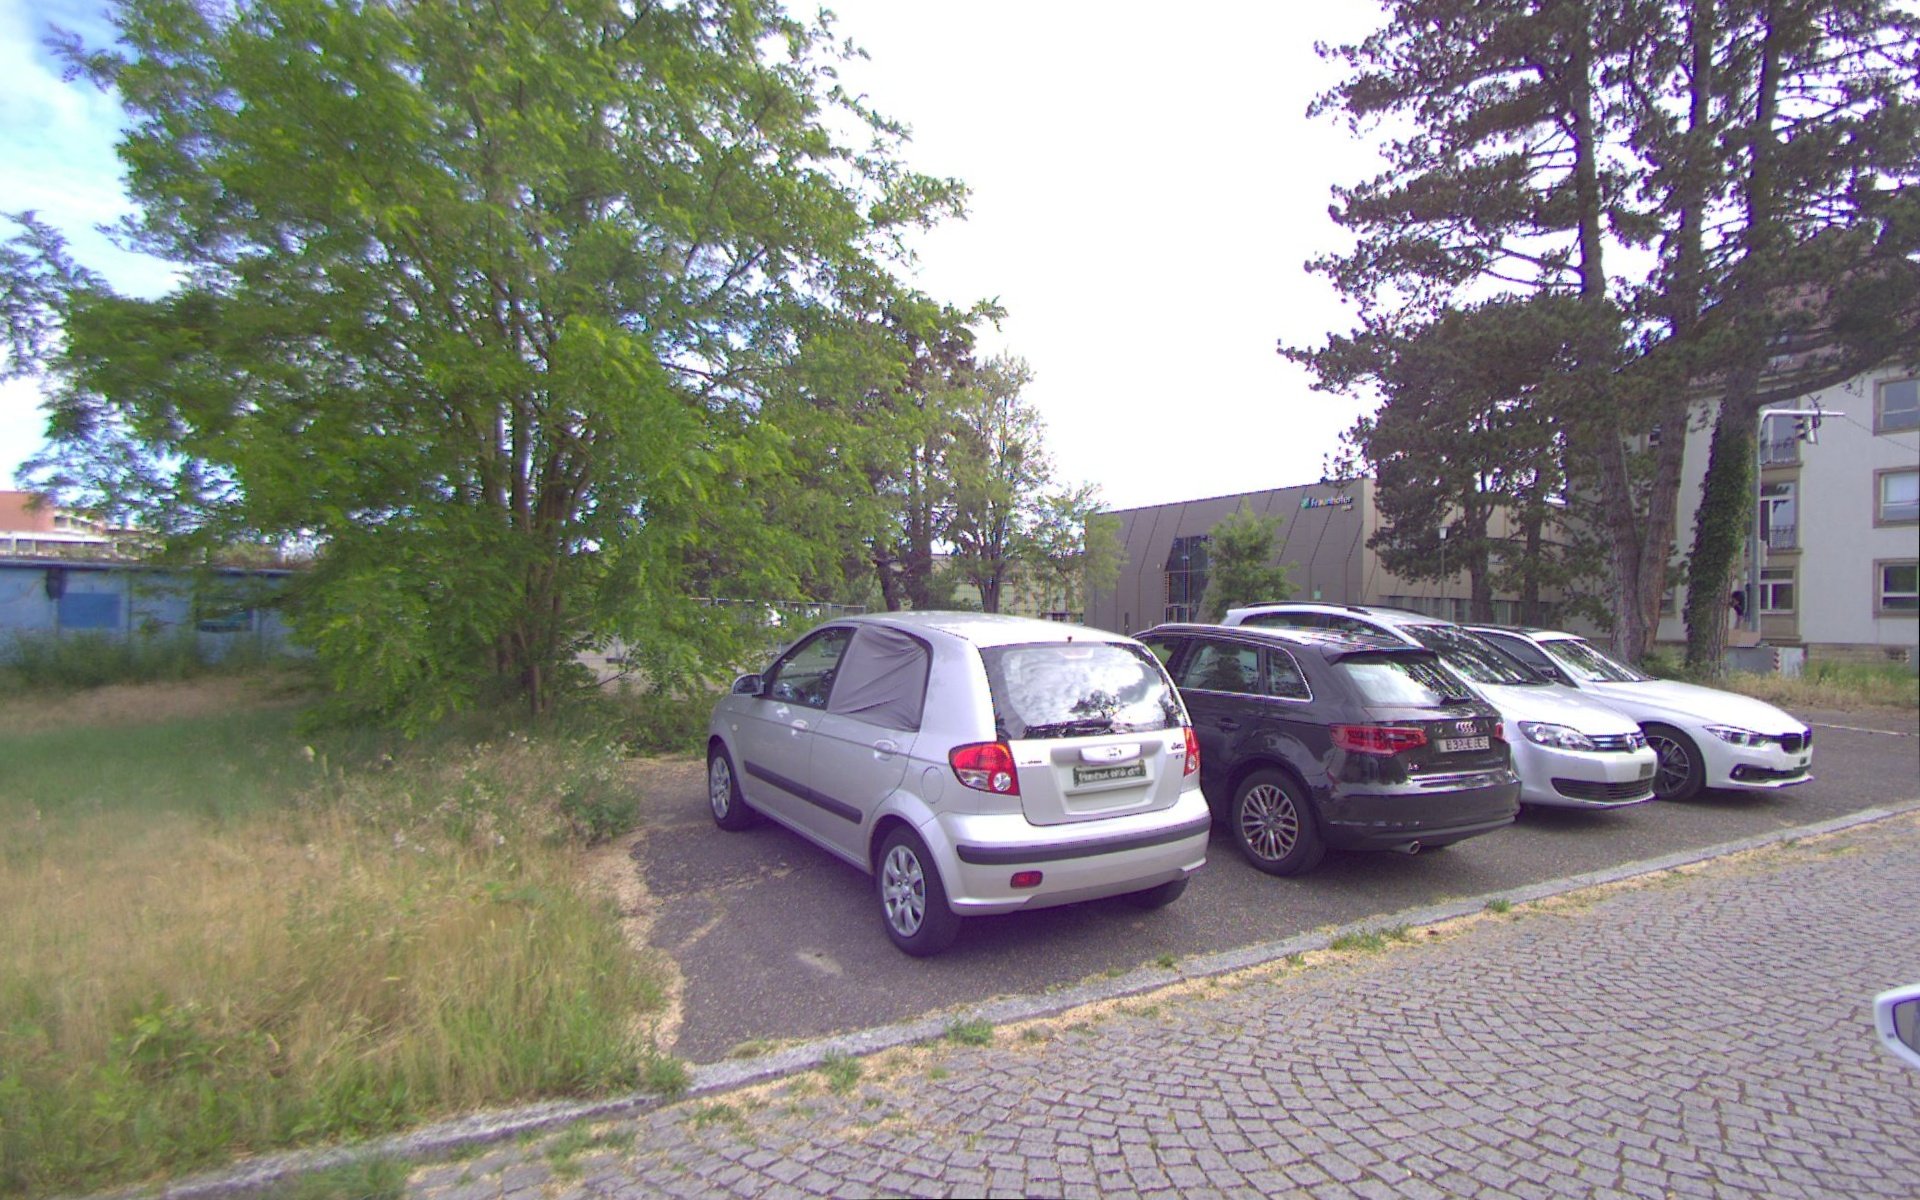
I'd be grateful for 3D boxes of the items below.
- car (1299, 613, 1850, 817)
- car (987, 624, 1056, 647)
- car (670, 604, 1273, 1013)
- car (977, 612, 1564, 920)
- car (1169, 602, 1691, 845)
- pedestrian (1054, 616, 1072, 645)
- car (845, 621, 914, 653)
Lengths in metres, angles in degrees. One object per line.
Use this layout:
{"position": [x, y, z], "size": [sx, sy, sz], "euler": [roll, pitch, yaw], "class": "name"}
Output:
{"position": [6.080, 0.980, 10.583], "size": [1.783, 1.463, 4.619], "euler": [1, 1, -33], "class": "car"}
{"position": [4.293, 2.450, 69.798], "size": [4.405, 1.449, 1.985], "euler": [-1, 0, -29], "class": "car"}
{"position": [-0.237, 0.843, 5.962], "size": [1.790, 1.472, 3.654], "euler": [1, 1, -34], "class": "car"}
{"position": [1.915, 0.906, 7.393], "size": [1.731, 1.446, 3.966], "euler": [1, 1, -31], "class": "car"}
{"position": [3.971, 0.884, 9.135], "size": [1.707, 1.568, 3.961], "euler": [1, 1, -34], "class": "car"}
{"position": [7.363, 2.194, 71.860], "size": [0.912, 2.040, 0.893], "euler": [1, -1, -36], "class": "pedestrian"}
{"position": [-3.860, 1.731, 47.769], "size": [1.678, 1.410, 3.966], "euler": [1, -1, -32], "class": "car"}
